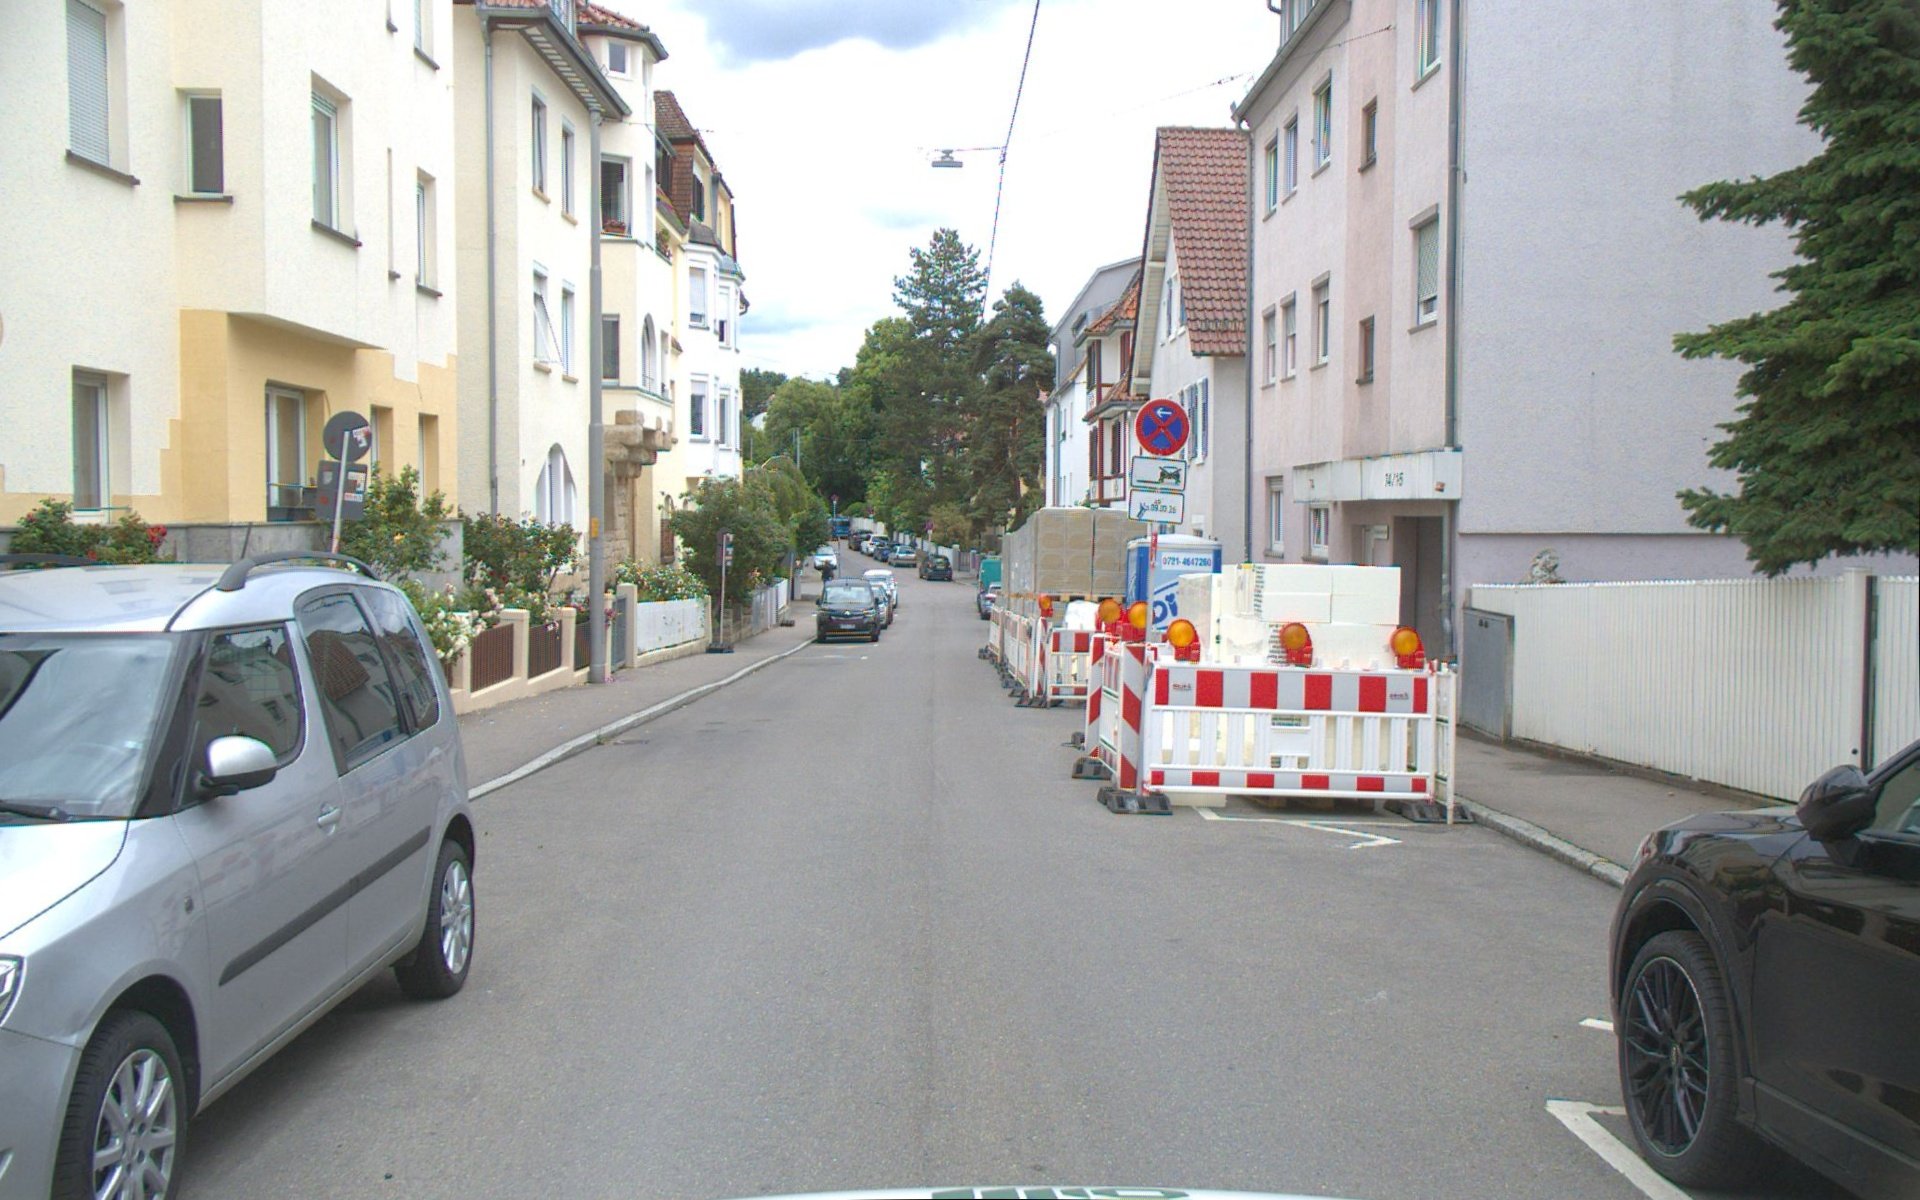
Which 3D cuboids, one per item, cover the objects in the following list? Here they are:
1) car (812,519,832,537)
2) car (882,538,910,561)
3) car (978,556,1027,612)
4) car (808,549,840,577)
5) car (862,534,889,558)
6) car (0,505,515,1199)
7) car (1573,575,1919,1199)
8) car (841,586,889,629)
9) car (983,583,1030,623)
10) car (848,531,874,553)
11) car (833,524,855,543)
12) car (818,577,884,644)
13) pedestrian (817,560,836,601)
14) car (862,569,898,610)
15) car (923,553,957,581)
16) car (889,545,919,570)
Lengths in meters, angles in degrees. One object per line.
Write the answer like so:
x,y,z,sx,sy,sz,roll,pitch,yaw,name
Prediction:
-13.079,-6.838,156.705,1.604,1.563,3.524,1,4,-10,car
-4.682,-3.684,120.448,1.604,1.509,3.524,1,4,-10,car
1.855,-0.755,73.922,1.940,2.403,4.276,0,2,-2,car
-9.321,-2.553,113.159,1.644,1.685,3.851,-1,4,-14,car
-6.454,-4.143,126.499,1.604,1.563,3.524,1,4,-10,car
-2.669,0.635,4.772,1.808,1.659,4.284,0,1,-3,car
2.822,0.773,3.194,1.680,1.593,4.072,2,1,-1,car
-3.354,0.245,59.182,1.609,1.441,3.982,-1,1,-2,car
1.876,0.090,67.491,1.690,1.473,3.880,0,2,-2,car
-7.919,-4.656,132.163,1.604,1.563,3.524,1,4,-10,car
-10.315,-5.911,146.633,1.604,1.563,3.524,1,4,-10,car
-3.207,0.260,48.626,1.808,1.847,4.541,-1,1,-4,car
-6.568,-0.956,81.354,0.775,1.966,0.919,1,1,1,pedestrian
-3.717,-0.498,77.492,1.639,1.685,3.863,-1,4,-2,car
-1.289,-2.063,104.223,1.604,1.509,3.525,1,4,-9,car
-3.922,-2.998,115.940,1.604,1.509,3.524,1,4,-10,car
